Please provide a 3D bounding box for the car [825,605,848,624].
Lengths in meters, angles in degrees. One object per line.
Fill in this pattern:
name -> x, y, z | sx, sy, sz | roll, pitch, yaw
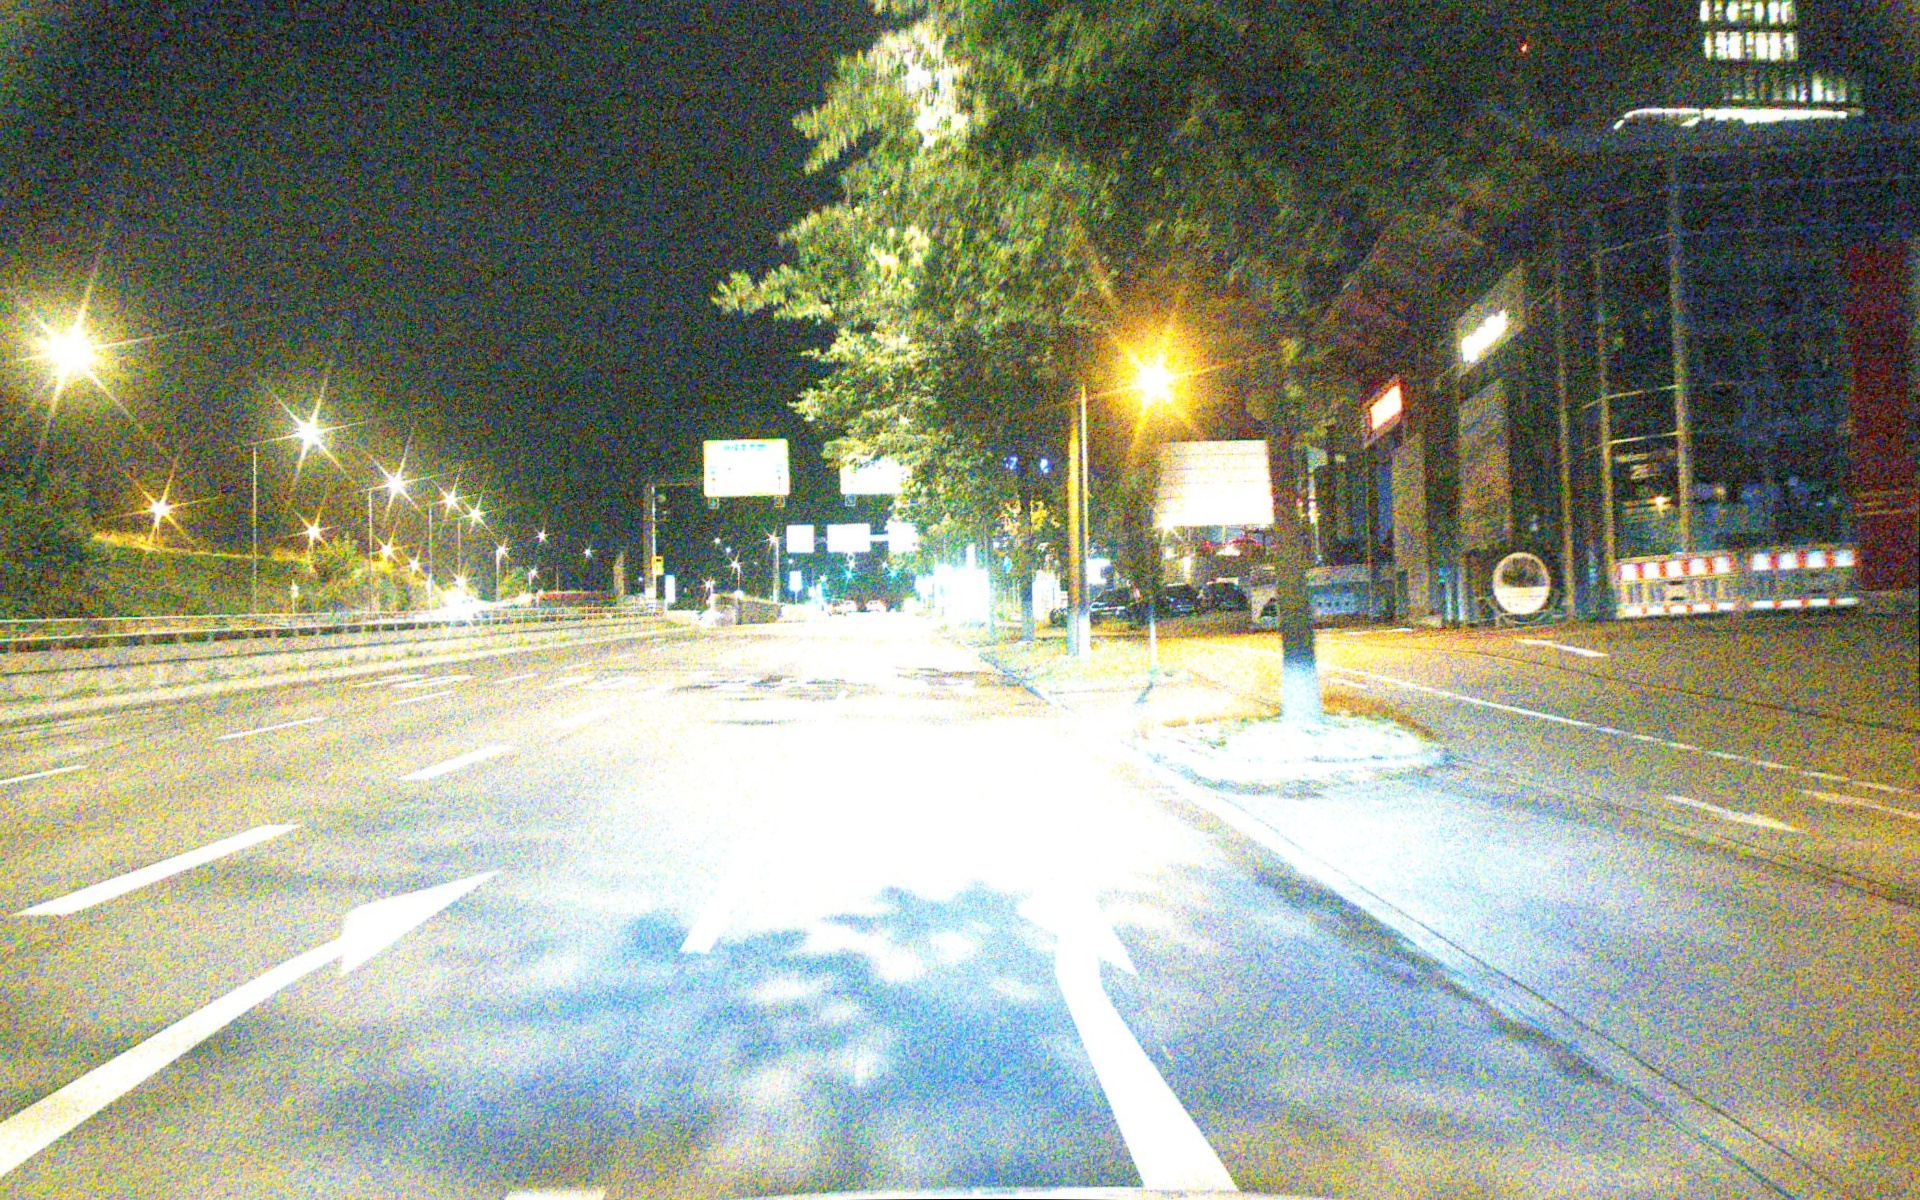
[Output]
car -> -12.073, 1.429, 162.470 | 1.927, 1.741, 3.999 | 0, -2, 0

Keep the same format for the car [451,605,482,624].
car -> -41.941, 1.232, 140.518 | 1.592, 1.507, 3.678 | 0, -2, -1

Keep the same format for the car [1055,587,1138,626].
car -> 6.883, 0.342, 83.564 | 3.910, 1.889, 1.819 | 0, -2, -6

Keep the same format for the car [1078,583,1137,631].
car -> 6.532, 0.336, 72.840 | 1.951, 1.979, 4.002 | 0, -2, 15

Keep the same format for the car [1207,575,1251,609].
car -> 13.171, -0.378, 81.140 | 1.852, 1.538, 3.638 | 0, -2, 5

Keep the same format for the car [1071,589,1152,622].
car -> 7.150, 0.266, 78.112 | 3.554, 1.477, 1.705 | 0, -2, -6

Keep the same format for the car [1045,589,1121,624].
car -> 6.699, 0.376, 90.567 | 3.910, 1.889, 1.819 | 0, -2, -6

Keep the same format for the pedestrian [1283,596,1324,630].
pedestrian -> 10.510, 0.403, 50.592 | 0.982, 1.025, 0.768 | 1, -2, -18

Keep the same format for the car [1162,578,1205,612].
car -> 10.731, -0.217, 79.636 | 1.852, 1.538, 3.638 | 0, -2, 5

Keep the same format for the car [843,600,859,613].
car -> -14.743, 0.829, 223.439 | 1.953, 1.624, 3.998 | -1, -2, -2

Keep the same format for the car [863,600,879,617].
car -> -11.524, 1.122, 214.867 | 1.953, 2.049, 3.997 | 0, -2, -2

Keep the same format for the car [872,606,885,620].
car -> -11.081, 1.796, 225.071 | 1.745, 1.758, 3.997 | 0, -2, -2

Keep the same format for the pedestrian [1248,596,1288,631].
pedestrian -> 9.400, 0.413, 50.483 | 0.897, 1.056, 0.767 | -3, -1, 41
